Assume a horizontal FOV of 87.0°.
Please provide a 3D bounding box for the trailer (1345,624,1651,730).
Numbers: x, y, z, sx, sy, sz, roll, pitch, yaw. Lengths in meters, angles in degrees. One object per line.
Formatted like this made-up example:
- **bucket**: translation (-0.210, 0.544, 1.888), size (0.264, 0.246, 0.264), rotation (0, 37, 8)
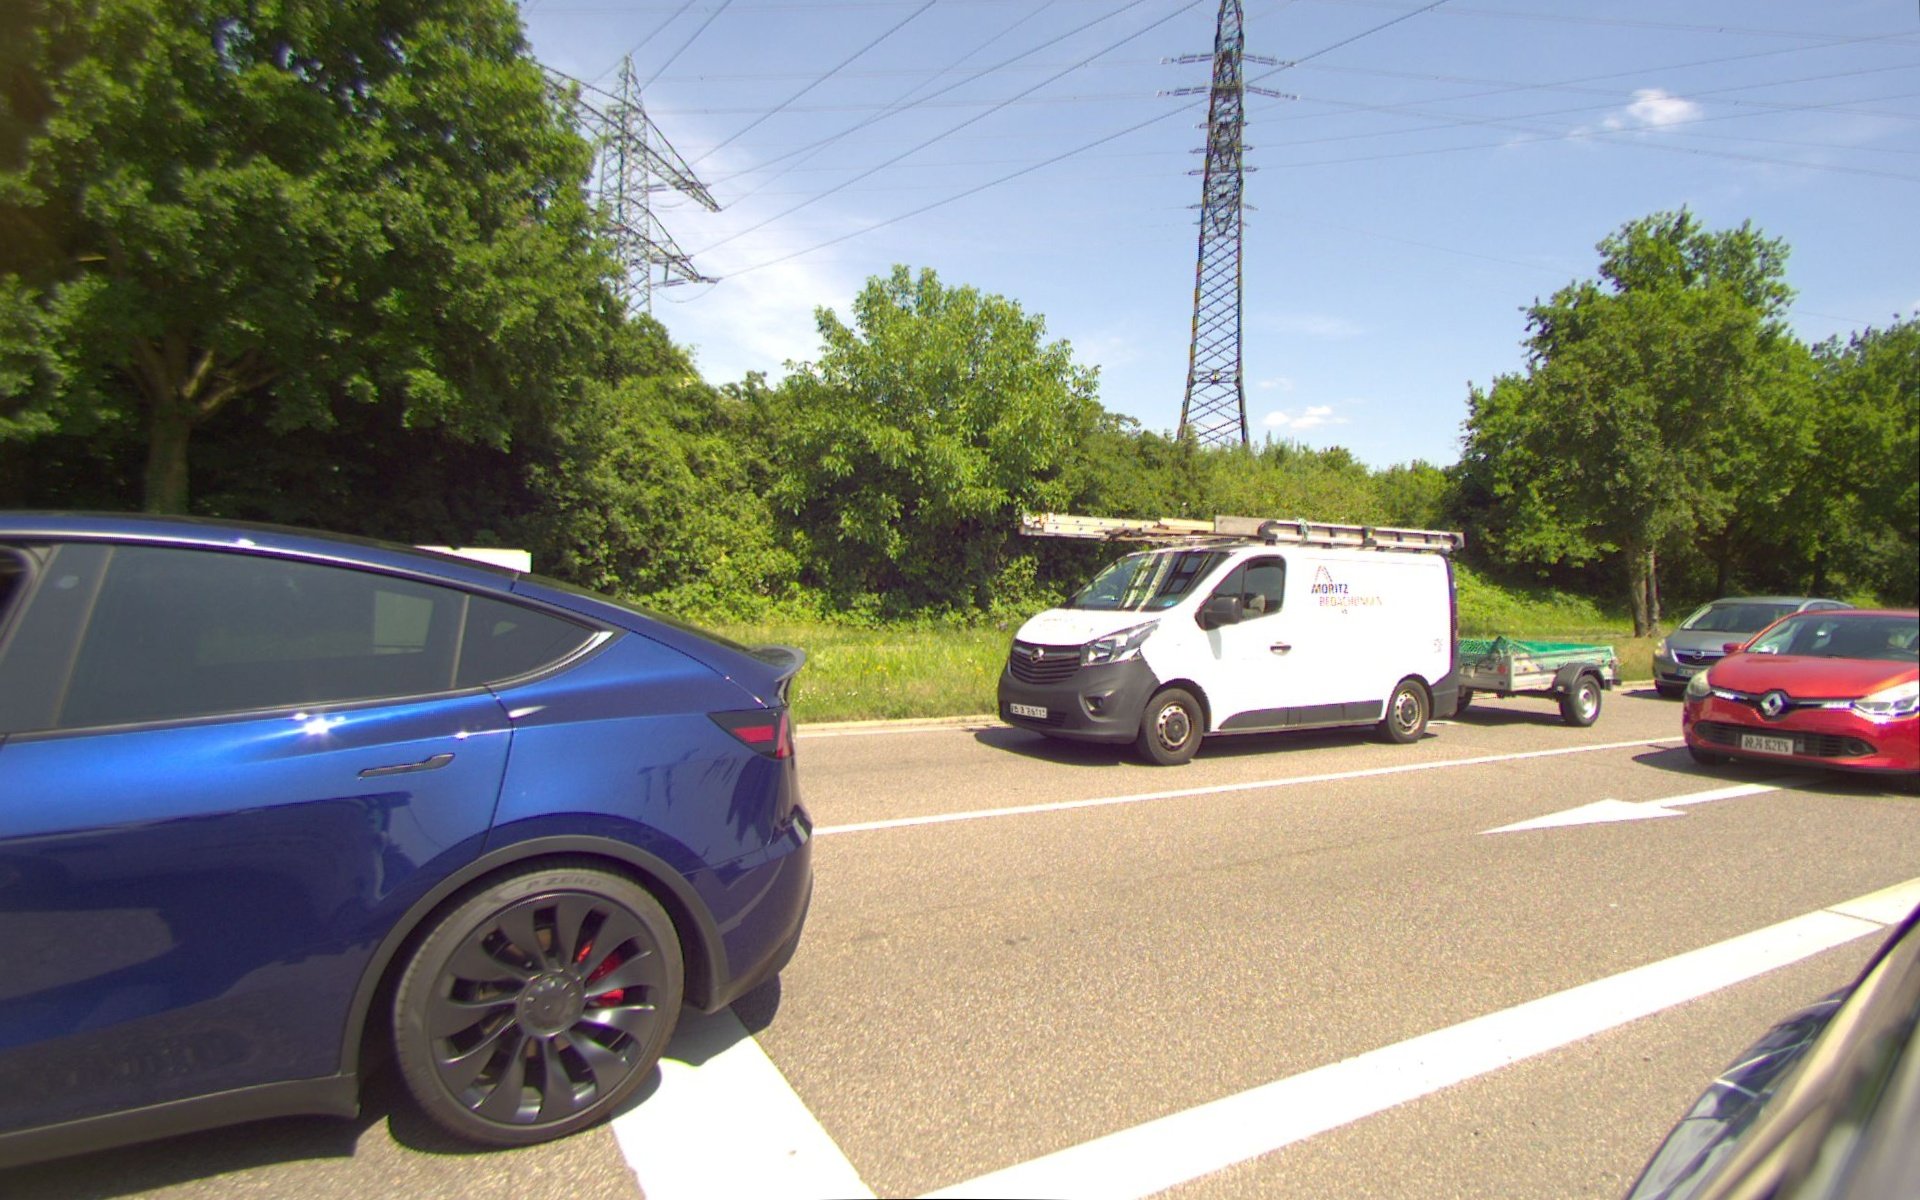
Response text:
- **trailer**: translation (6.383, 0.832, 11.996), size (3.256, 1.019, 1.713), rotation (1, 1, -29)

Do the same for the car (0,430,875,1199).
- **car**: translation (-2.651, 0.473, 2.710), size (4.429, 1.665, 1.909), rotation (1, 0, -30)

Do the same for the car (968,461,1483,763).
- **car**: translation (2.730, 0.097, 10.035), size (4.973, 2.378, 1.941), rotation (1, 0, -29)

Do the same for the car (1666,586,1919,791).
- **car**: translation (8.286, 0.654, 9.047), size (3.984, 1.480, 1.750), rotation (1, 0, -31)

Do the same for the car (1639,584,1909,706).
- **car**: translation (12.502, 0.625, 15.508), size (4.081, 1.615, 1.773), rotation (1, 1, -29)

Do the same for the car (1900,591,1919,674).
- **car**: translation (20.764, 0.661, 20.164), size (4.186, 1.614, 1.751), rotation (1, 0, -29)
